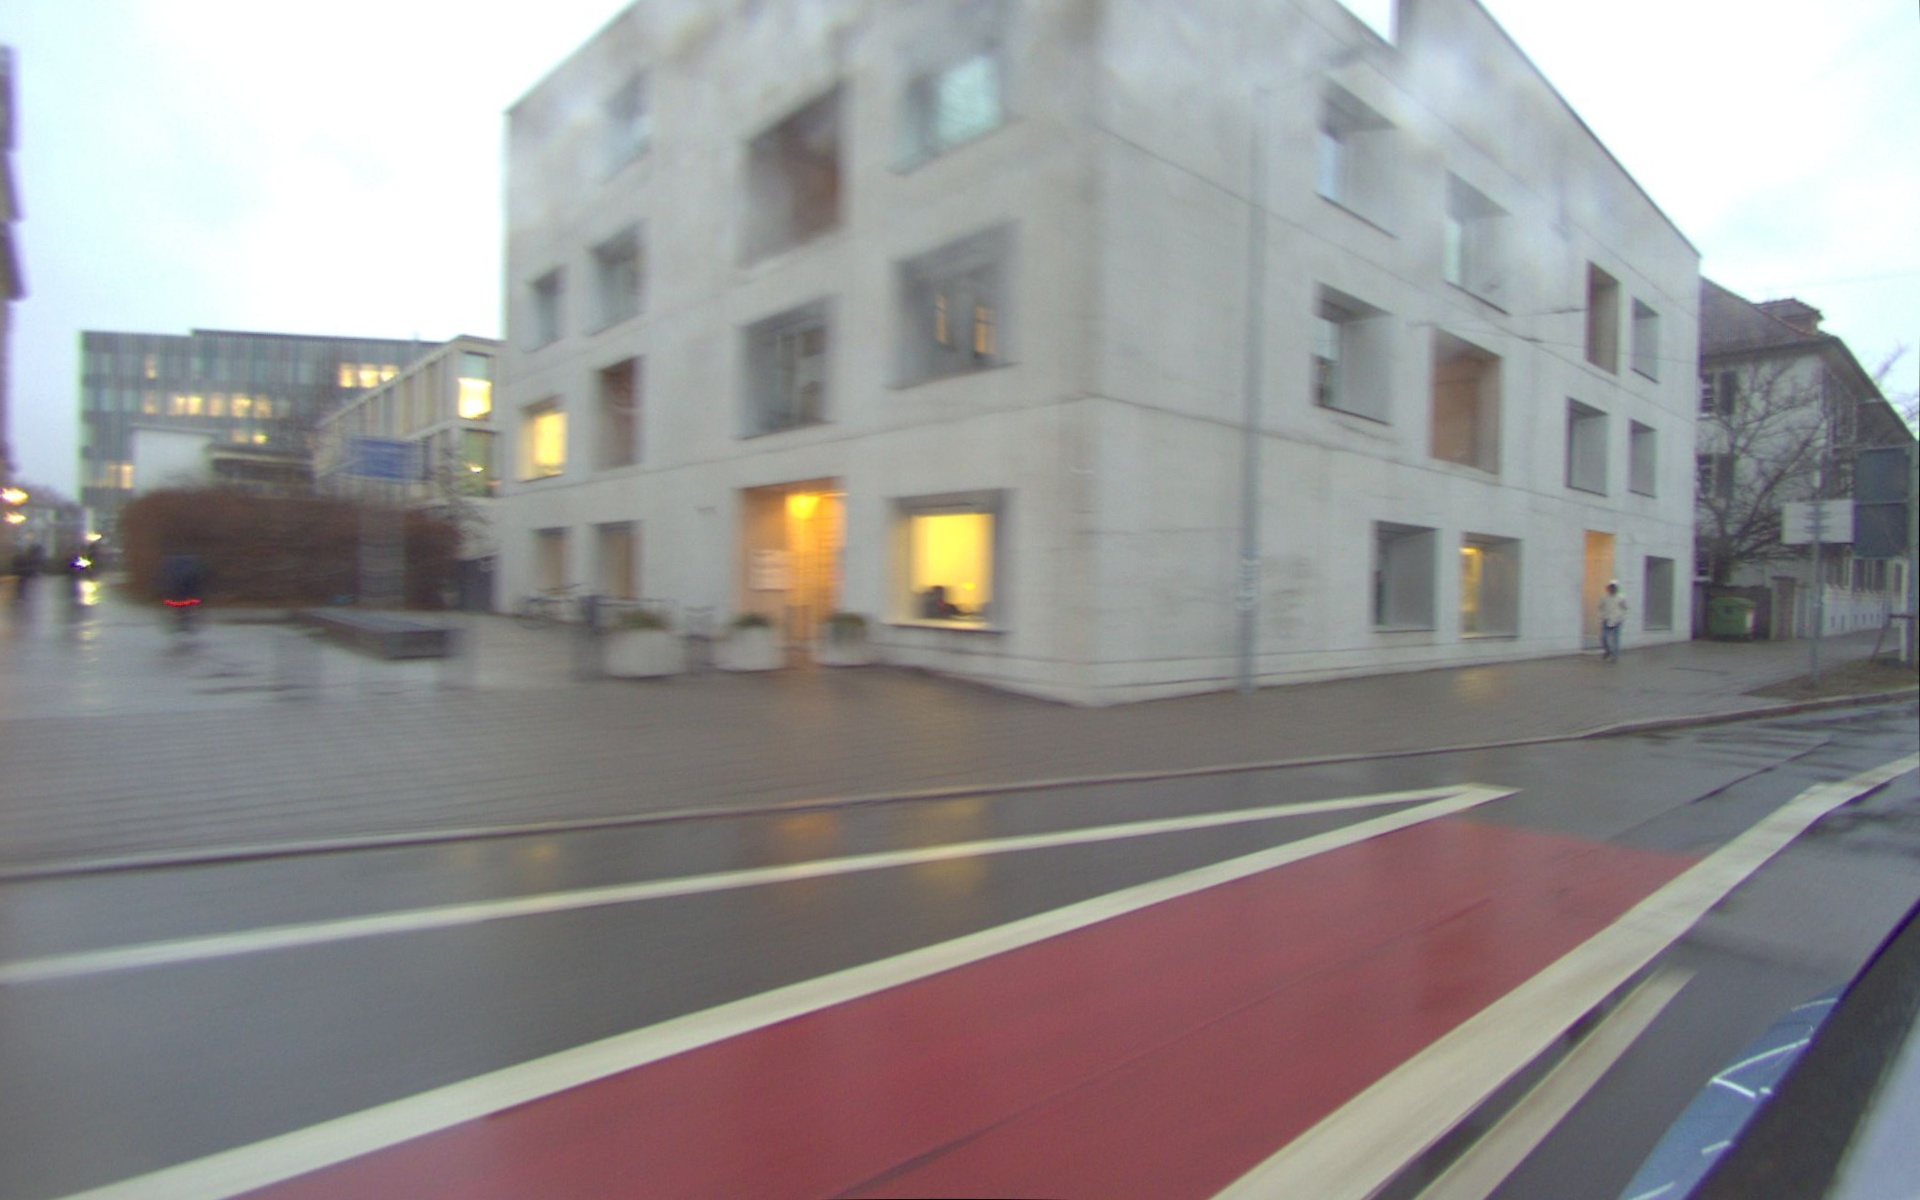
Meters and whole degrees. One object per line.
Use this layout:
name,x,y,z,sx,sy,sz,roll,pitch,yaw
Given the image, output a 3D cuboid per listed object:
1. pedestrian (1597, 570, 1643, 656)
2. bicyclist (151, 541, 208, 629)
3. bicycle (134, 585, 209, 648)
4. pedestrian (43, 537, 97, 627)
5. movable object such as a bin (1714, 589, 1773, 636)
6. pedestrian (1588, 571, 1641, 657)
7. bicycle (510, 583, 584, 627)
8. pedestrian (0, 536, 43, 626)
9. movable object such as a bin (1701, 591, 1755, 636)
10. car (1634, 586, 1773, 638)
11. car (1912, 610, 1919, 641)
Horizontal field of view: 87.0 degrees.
pedestrian,14.861,0.274,22.786,0.648,1.882,0.657,0,2,-40
bicyclist,-13.084,-0.235,16.990,0.723,1.428,0.861,0,-1,-36
bicycle,-12.961,0.265,16.691,0.888,0.958,2.019,0,-1,-35
pedestrian,-17.244,-0.350,19.629,0.735,1.705,0.779,2,1,-41
movable object such as a bin,25.414,0.380,32.831,1.394,1.464,1.258,0,1,-42
pedestrian,14.791,0.301,22.877,0.705,1.881,0.773,0,2,-40
bicycle,-9.512,0.101,23.334,1.526,0.992,0.408,0,1,-39
pedestrian,-17.844,-0.361,19.106,0.735,1.664,0.779,2,1,-41
movable object such as a bin,26.261,0.451,34.615,1.395,1.464,1.257,0,1,-44
car,24.770,0.399,33.774,1.702,1.668,3.454,0,-1,-42
car,47.058,1.163,46.983,3.826,1.447,1.841,-1,-1,32
